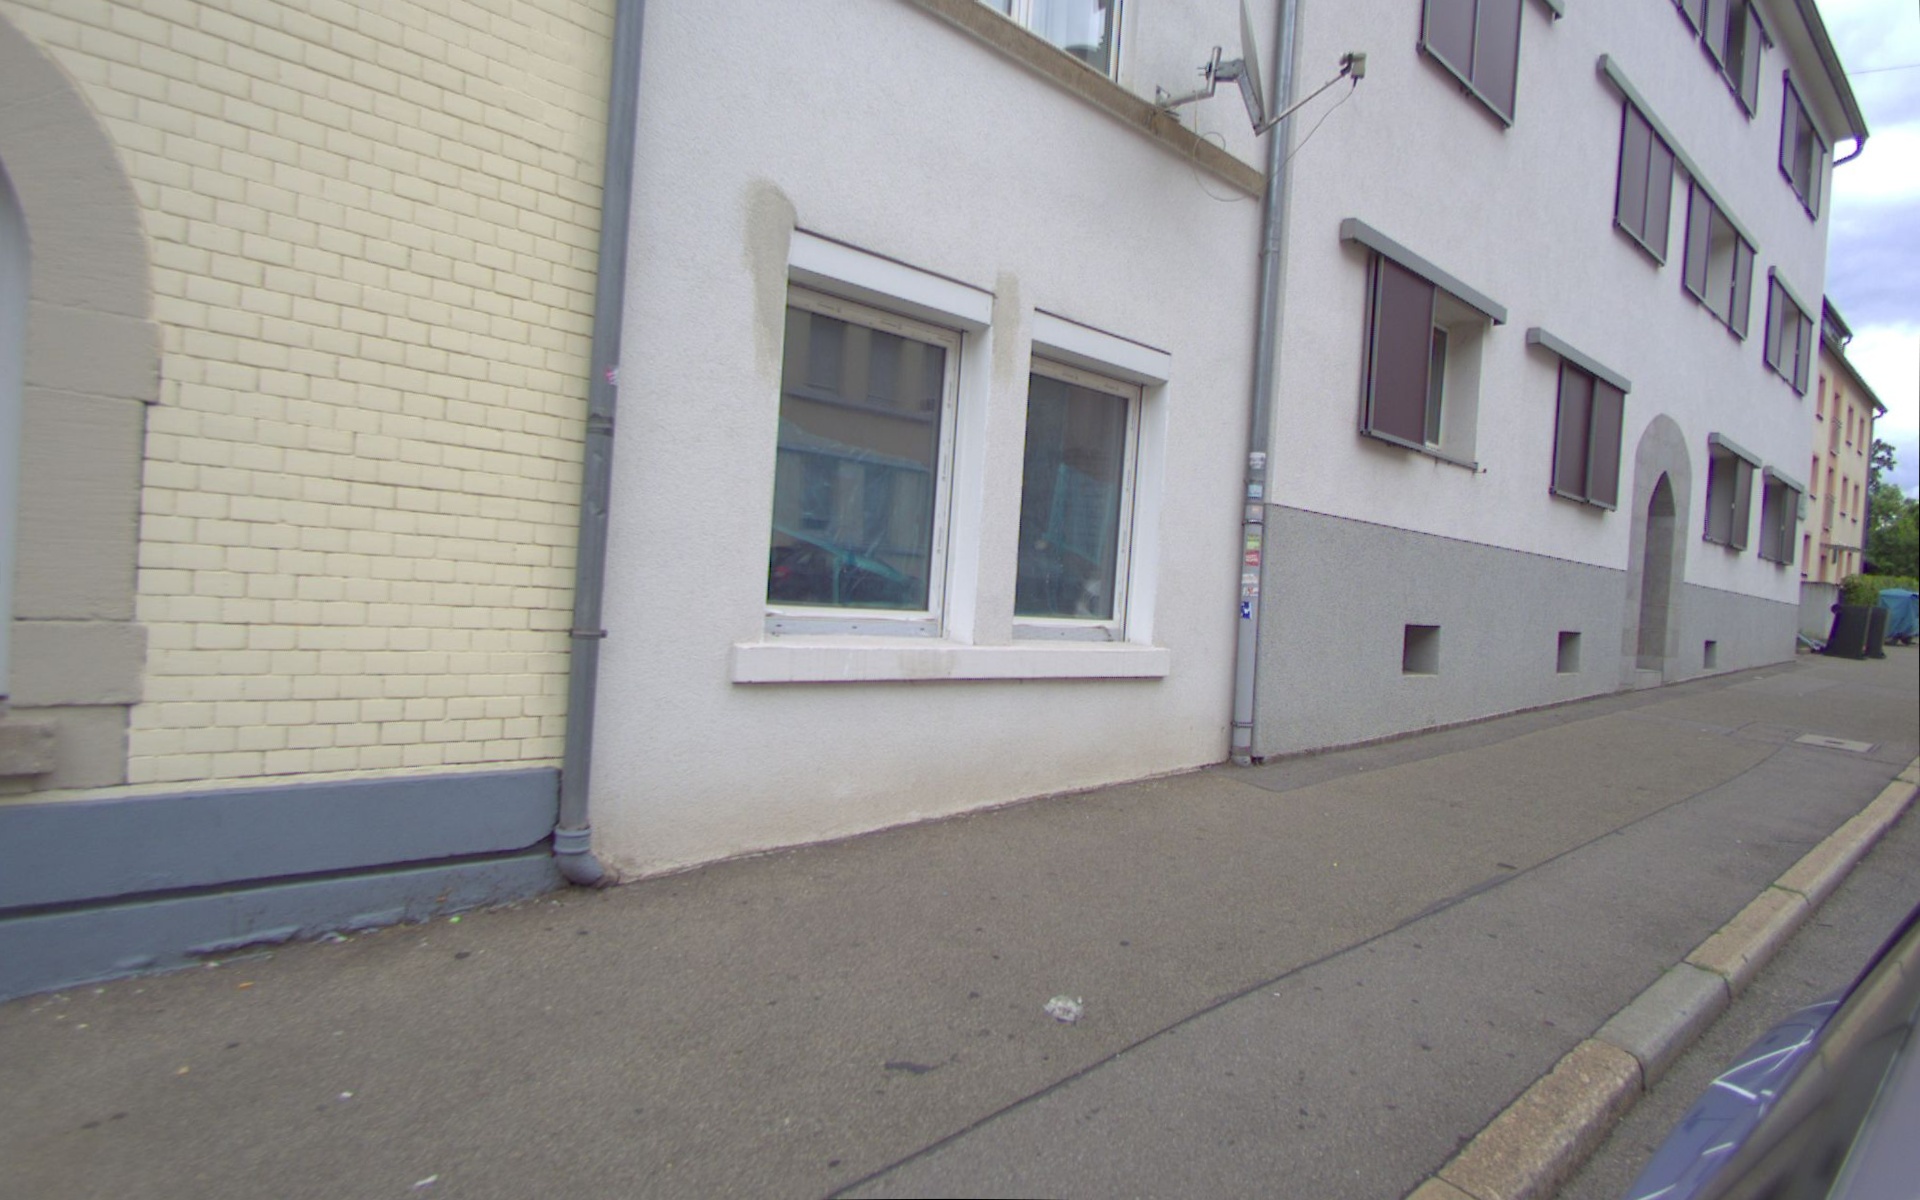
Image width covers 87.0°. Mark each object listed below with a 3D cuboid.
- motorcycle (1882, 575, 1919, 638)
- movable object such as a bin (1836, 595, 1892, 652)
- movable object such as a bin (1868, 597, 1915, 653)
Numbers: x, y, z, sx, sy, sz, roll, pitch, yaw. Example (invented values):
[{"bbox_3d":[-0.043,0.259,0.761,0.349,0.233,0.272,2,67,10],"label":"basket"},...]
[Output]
[{"bbox_3d":[23.397,0.163,24.722,1.899,1.406,0.733,1,6,-34],"label":"motorcycle"},{"bbox_3d":[17.468,0.444,19.554,0.592,1.021,0.638,1,5,-40],"label":"movable object such as a bin"},{"bbox_3d":[18.271,0.484,19.863,0.563,1.021,0.491,8,5,41],"label":"movable object such as a bin"}]
